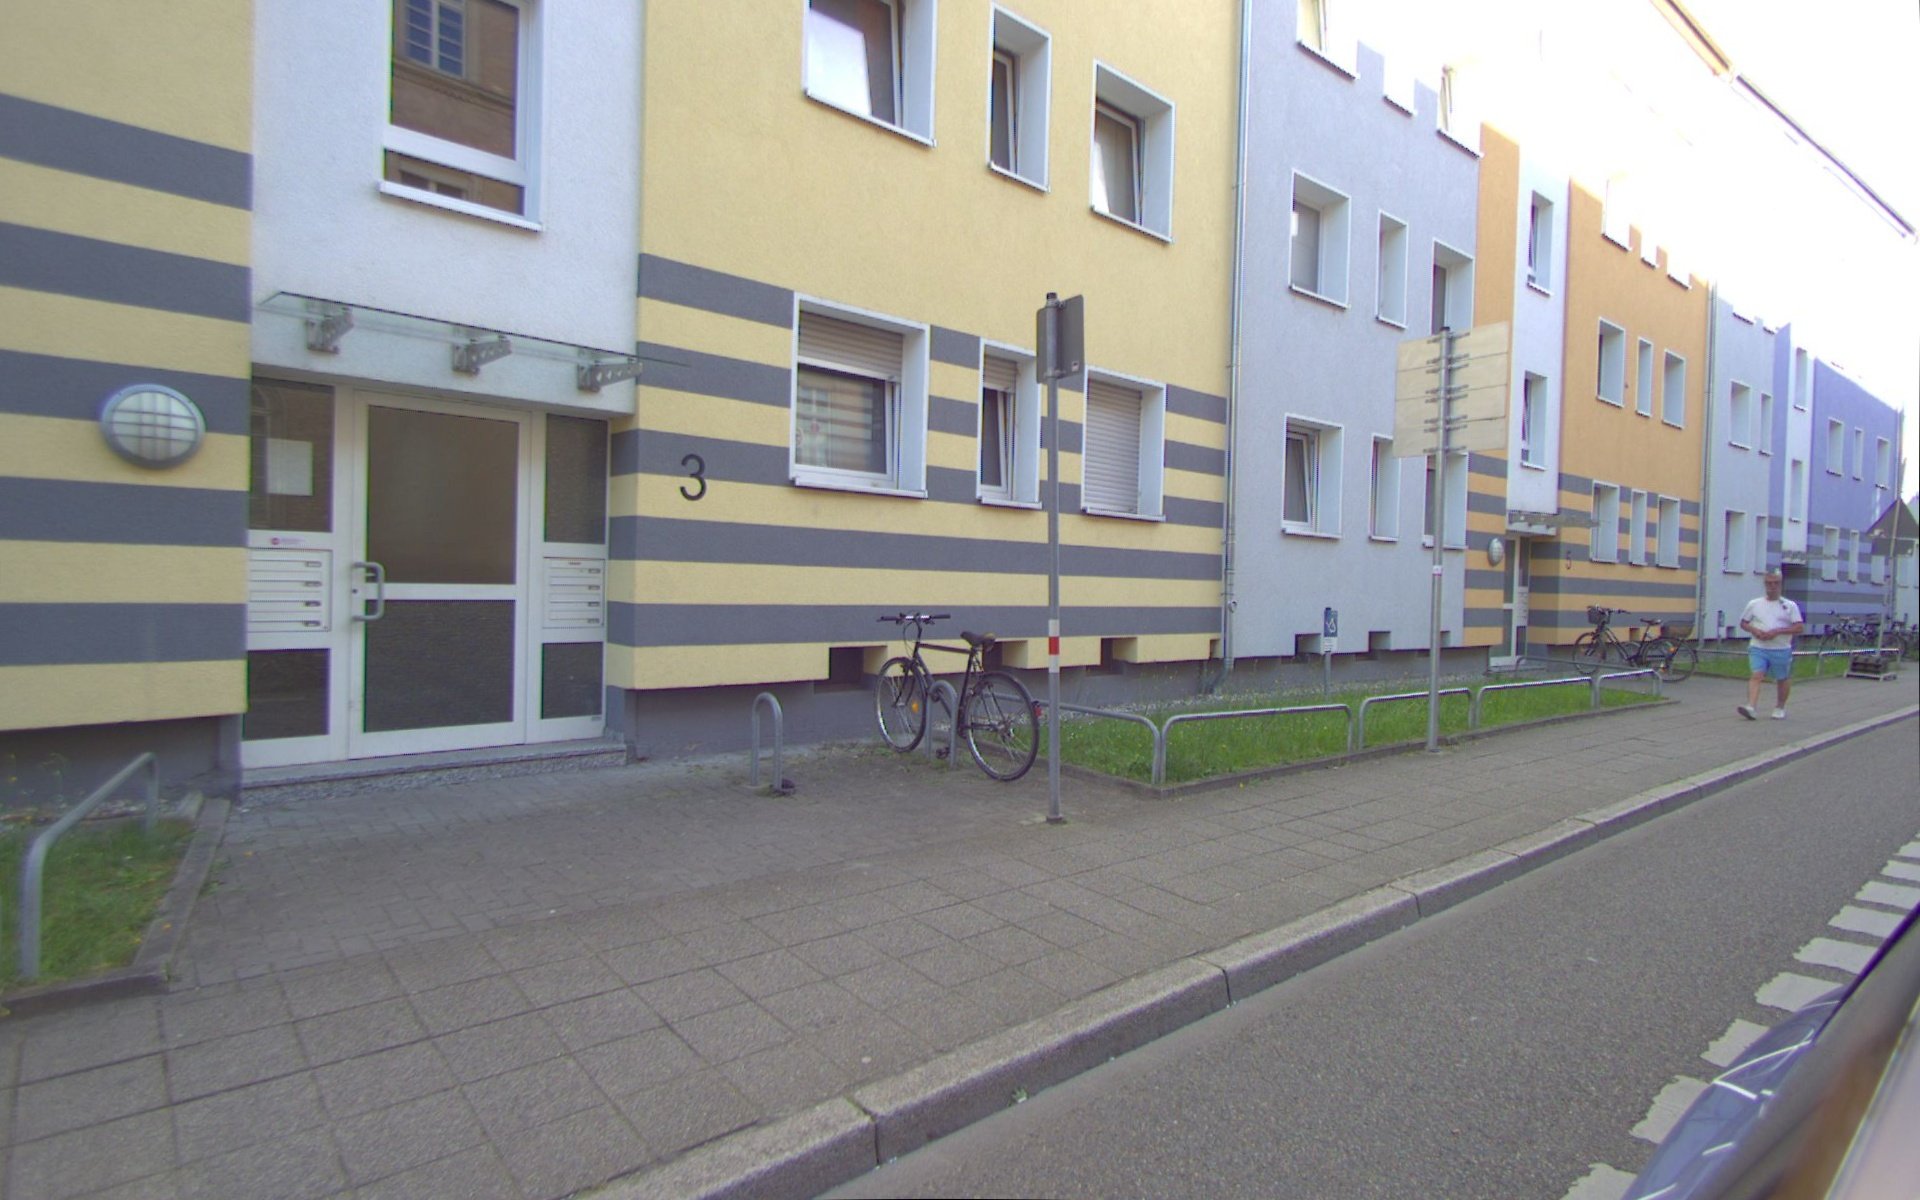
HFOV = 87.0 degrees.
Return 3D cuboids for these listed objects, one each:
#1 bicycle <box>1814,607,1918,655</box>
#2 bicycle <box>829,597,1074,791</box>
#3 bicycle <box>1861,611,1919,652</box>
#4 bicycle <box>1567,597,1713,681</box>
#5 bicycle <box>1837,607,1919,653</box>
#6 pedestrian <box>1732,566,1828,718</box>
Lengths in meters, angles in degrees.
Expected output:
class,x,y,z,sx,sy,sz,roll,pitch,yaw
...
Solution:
class,x,y,z,sx,sy,sz,roll,pitch,yaw
bicycle,22.198,0.748,24.825,0.572,1.007,1.779,1,3,-33
bicycle,-0.112,0.565,6.944,1.773,1.061,0.574,5,4,45
bicycle,24.064,0.808,25.603,0.572,0.950,1.779,1,3,-33
bicycle,10.700,0.580,15.966,0.574,1.138,1.775,0,4,-42
bicycle,23.361,0.752,25.495,0.572,1.007,1.779,1,3,-33
pedestrian,9.597,0.466,11.844,0.819,1.692,0.644,1,2,-39
